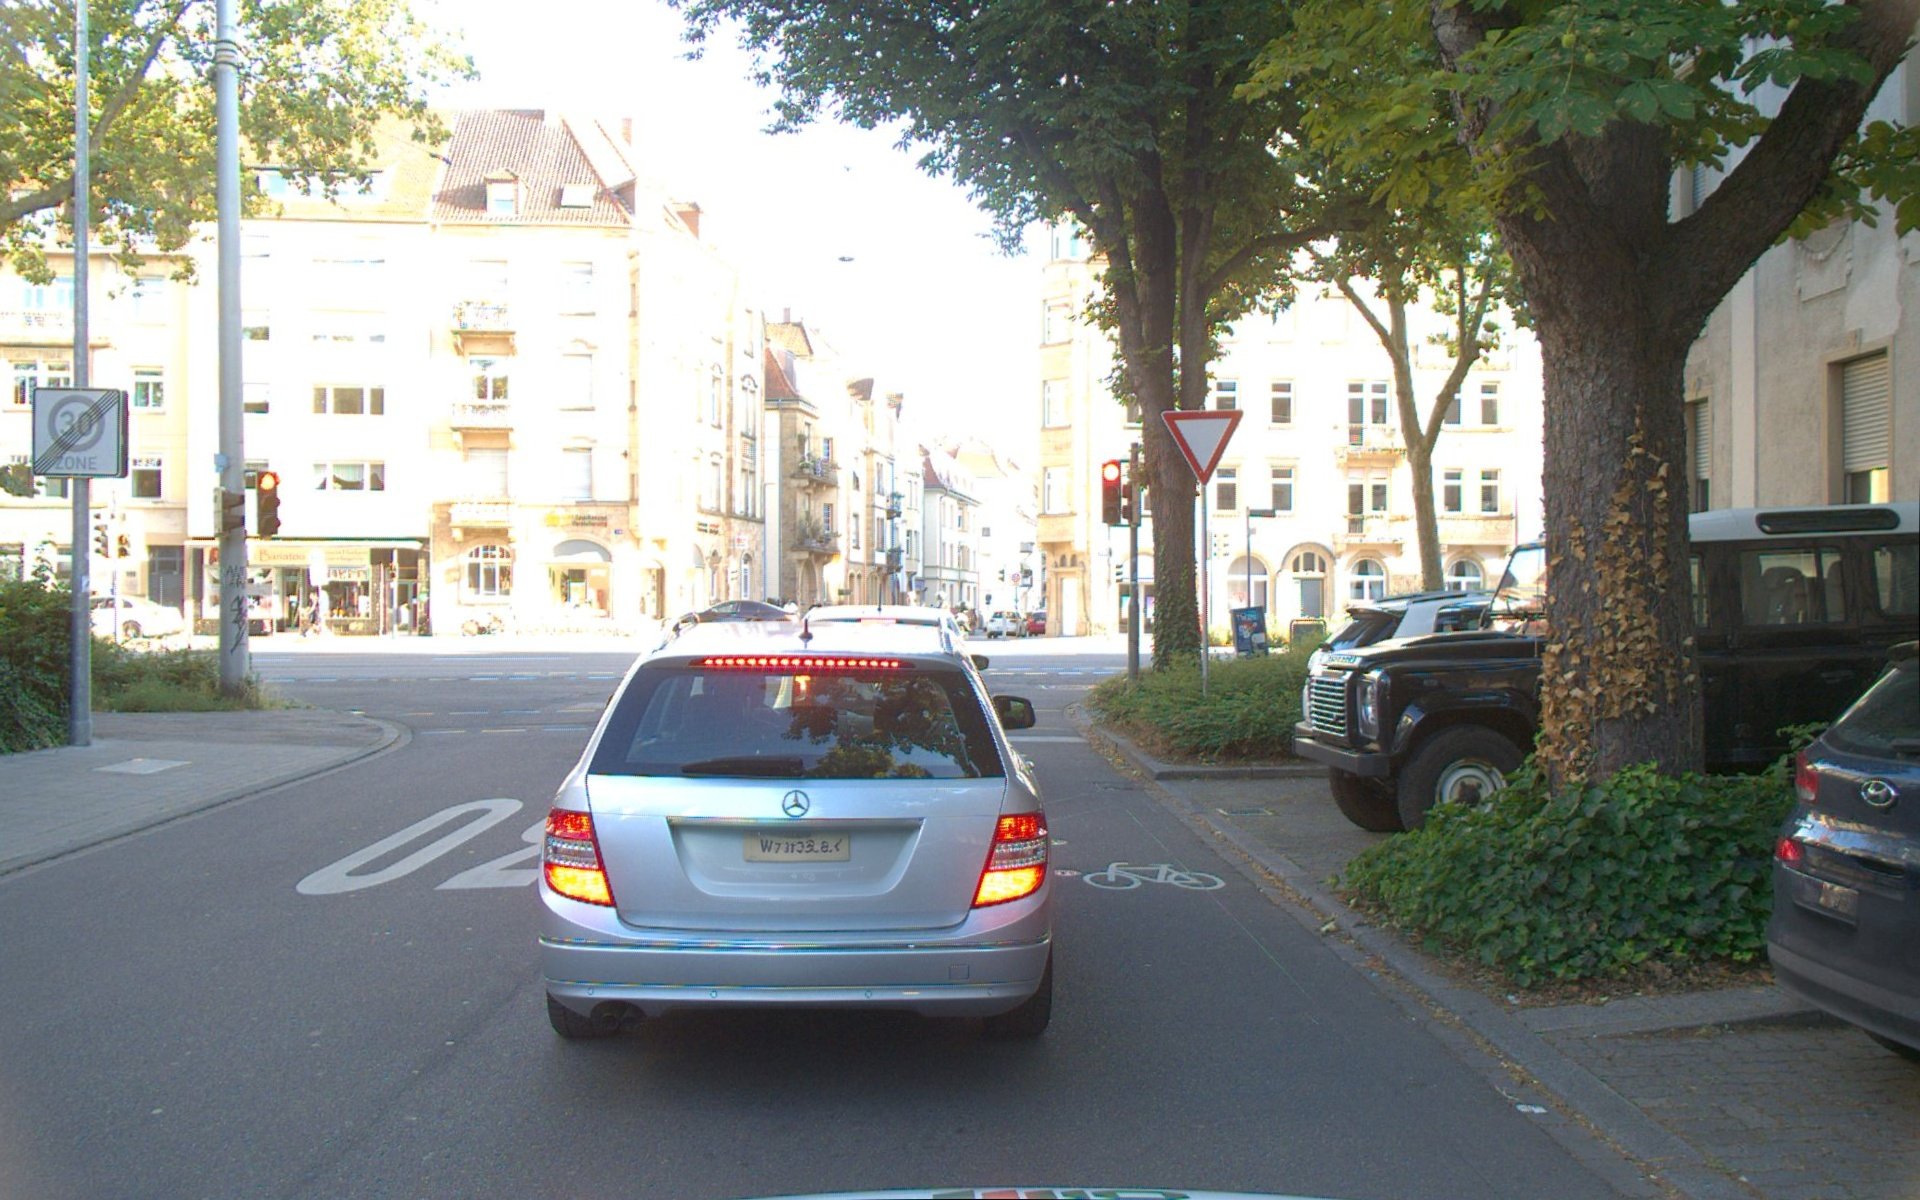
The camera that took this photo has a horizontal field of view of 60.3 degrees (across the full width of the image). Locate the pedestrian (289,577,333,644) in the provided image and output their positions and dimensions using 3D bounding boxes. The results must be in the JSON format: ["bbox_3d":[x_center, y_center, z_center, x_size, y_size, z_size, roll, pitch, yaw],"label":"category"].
[{"bbox_3d":[-24.791,0.404,63.191,1.320,2.507,1.059,0,0,-5],"label":"pedestrian"}]

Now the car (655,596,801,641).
[{"bbox_3d":[-7.862,0.622,56.414,4.788,1.477,1.857,0,0,-5],"label":"car"}]

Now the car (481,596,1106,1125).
[{"bbox_3d":[-0.555,0.737,6.936,1.741,1.477,4.546,1,0,-2],"label":"car"}]

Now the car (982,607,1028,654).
[{"bbox_3d":[2.353,1.565,85.905,1.987,2.319,4.003,0,1,7],"label":"car"}]

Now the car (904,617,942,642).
[{"bbox_3d":[-2.273,1.836,102.463,1.796,1.427,4.003,0,1,7],"label":"car"}]

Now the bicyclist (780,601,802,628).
[{"bbox_3d":[-7.488,0.649,73.331,0.754,1.177,0.753,1,0,10],"label":"bicyclist"}]

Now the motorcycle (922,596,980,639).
[{"bbox_3d":[-0.320,0.612,57.881,1.993,1.477,0.568,0,0,-5],"label":"motorcycle"}]

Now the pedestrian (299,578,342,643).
[{"bbox_3d":[-24.875,0.419,64.348,1.320,2.507,1.059,0,0,-5],"label":"pedestrian"}]

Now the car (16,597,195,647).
[{"bbox_3d":[-26.639,0.672,51.684,4.613,1.486,1.834,0,0,-7],"label":"car"}]

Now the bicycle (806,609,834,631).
[{"bbox_3d":[-6.210,0.890,73.360,0.754,0.950,1.942,1,0,10],"label":"bicycle"}]

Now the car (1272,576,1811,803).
[{"bbox_3d":[4.507,0.660,13.144,3.650,1.597,1.707,-1,0,-4],"label":"car"}]

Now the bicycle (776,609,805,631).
[{"bbox_3d":[-7.506,0.875,73.253,0.754,0.956,1.942,1,0,10],"label":"bicycle"}]

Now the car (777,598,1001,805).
[{"bbox_3d":[-0.595,0.728,14.025,1.587,1.472,4.342,1,0,-2],"label":"car"}]

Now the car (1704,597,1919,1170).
[{"bbox_3d":[4.280,0.702,4.598,3.650,1.477,1.707,-1,0,-4],"label":"car"}]

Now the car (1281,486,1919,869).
[{"bbox_3d":[4.366,0.413,10.176,4.377,2.072,1.699,-1,0,-4],"label":"car"}]

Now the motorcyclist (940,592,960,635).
[{"bbox_3d":[-0.352,0.460,57.878,0.668,1.477,0.568,0,0,-5],"label":"motorcyclist"}]

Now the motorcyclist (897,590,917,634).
[{"bbox_3d":[-1.807,0.396,56.242,0.668,1.477,0.568,0,0,-5],"label":"motorcyclist"}]

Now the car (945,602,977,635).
[{"bbox_3d":[0.084,1.297,117.326,1.749,2.242,4.003,0,1,7],"label":"car"}]

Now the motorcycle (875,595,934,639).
[{"bbox_3d":[-1.894,0.559,56.234,1.993,1.477,0.568,0,0,-5],"label":"motorcycle"}]

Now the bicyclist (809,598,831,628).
[{"bbox_3d":[-6.208,0.591,73.361,0.754,1.312,0.753,1,0,10],"label":"bicyclist"}]

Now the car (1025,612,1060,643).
[{"bbox_3d":[5.118,1.671,101.978,1.796,1.775,4.003,0,1,7],"label":"car"}]
